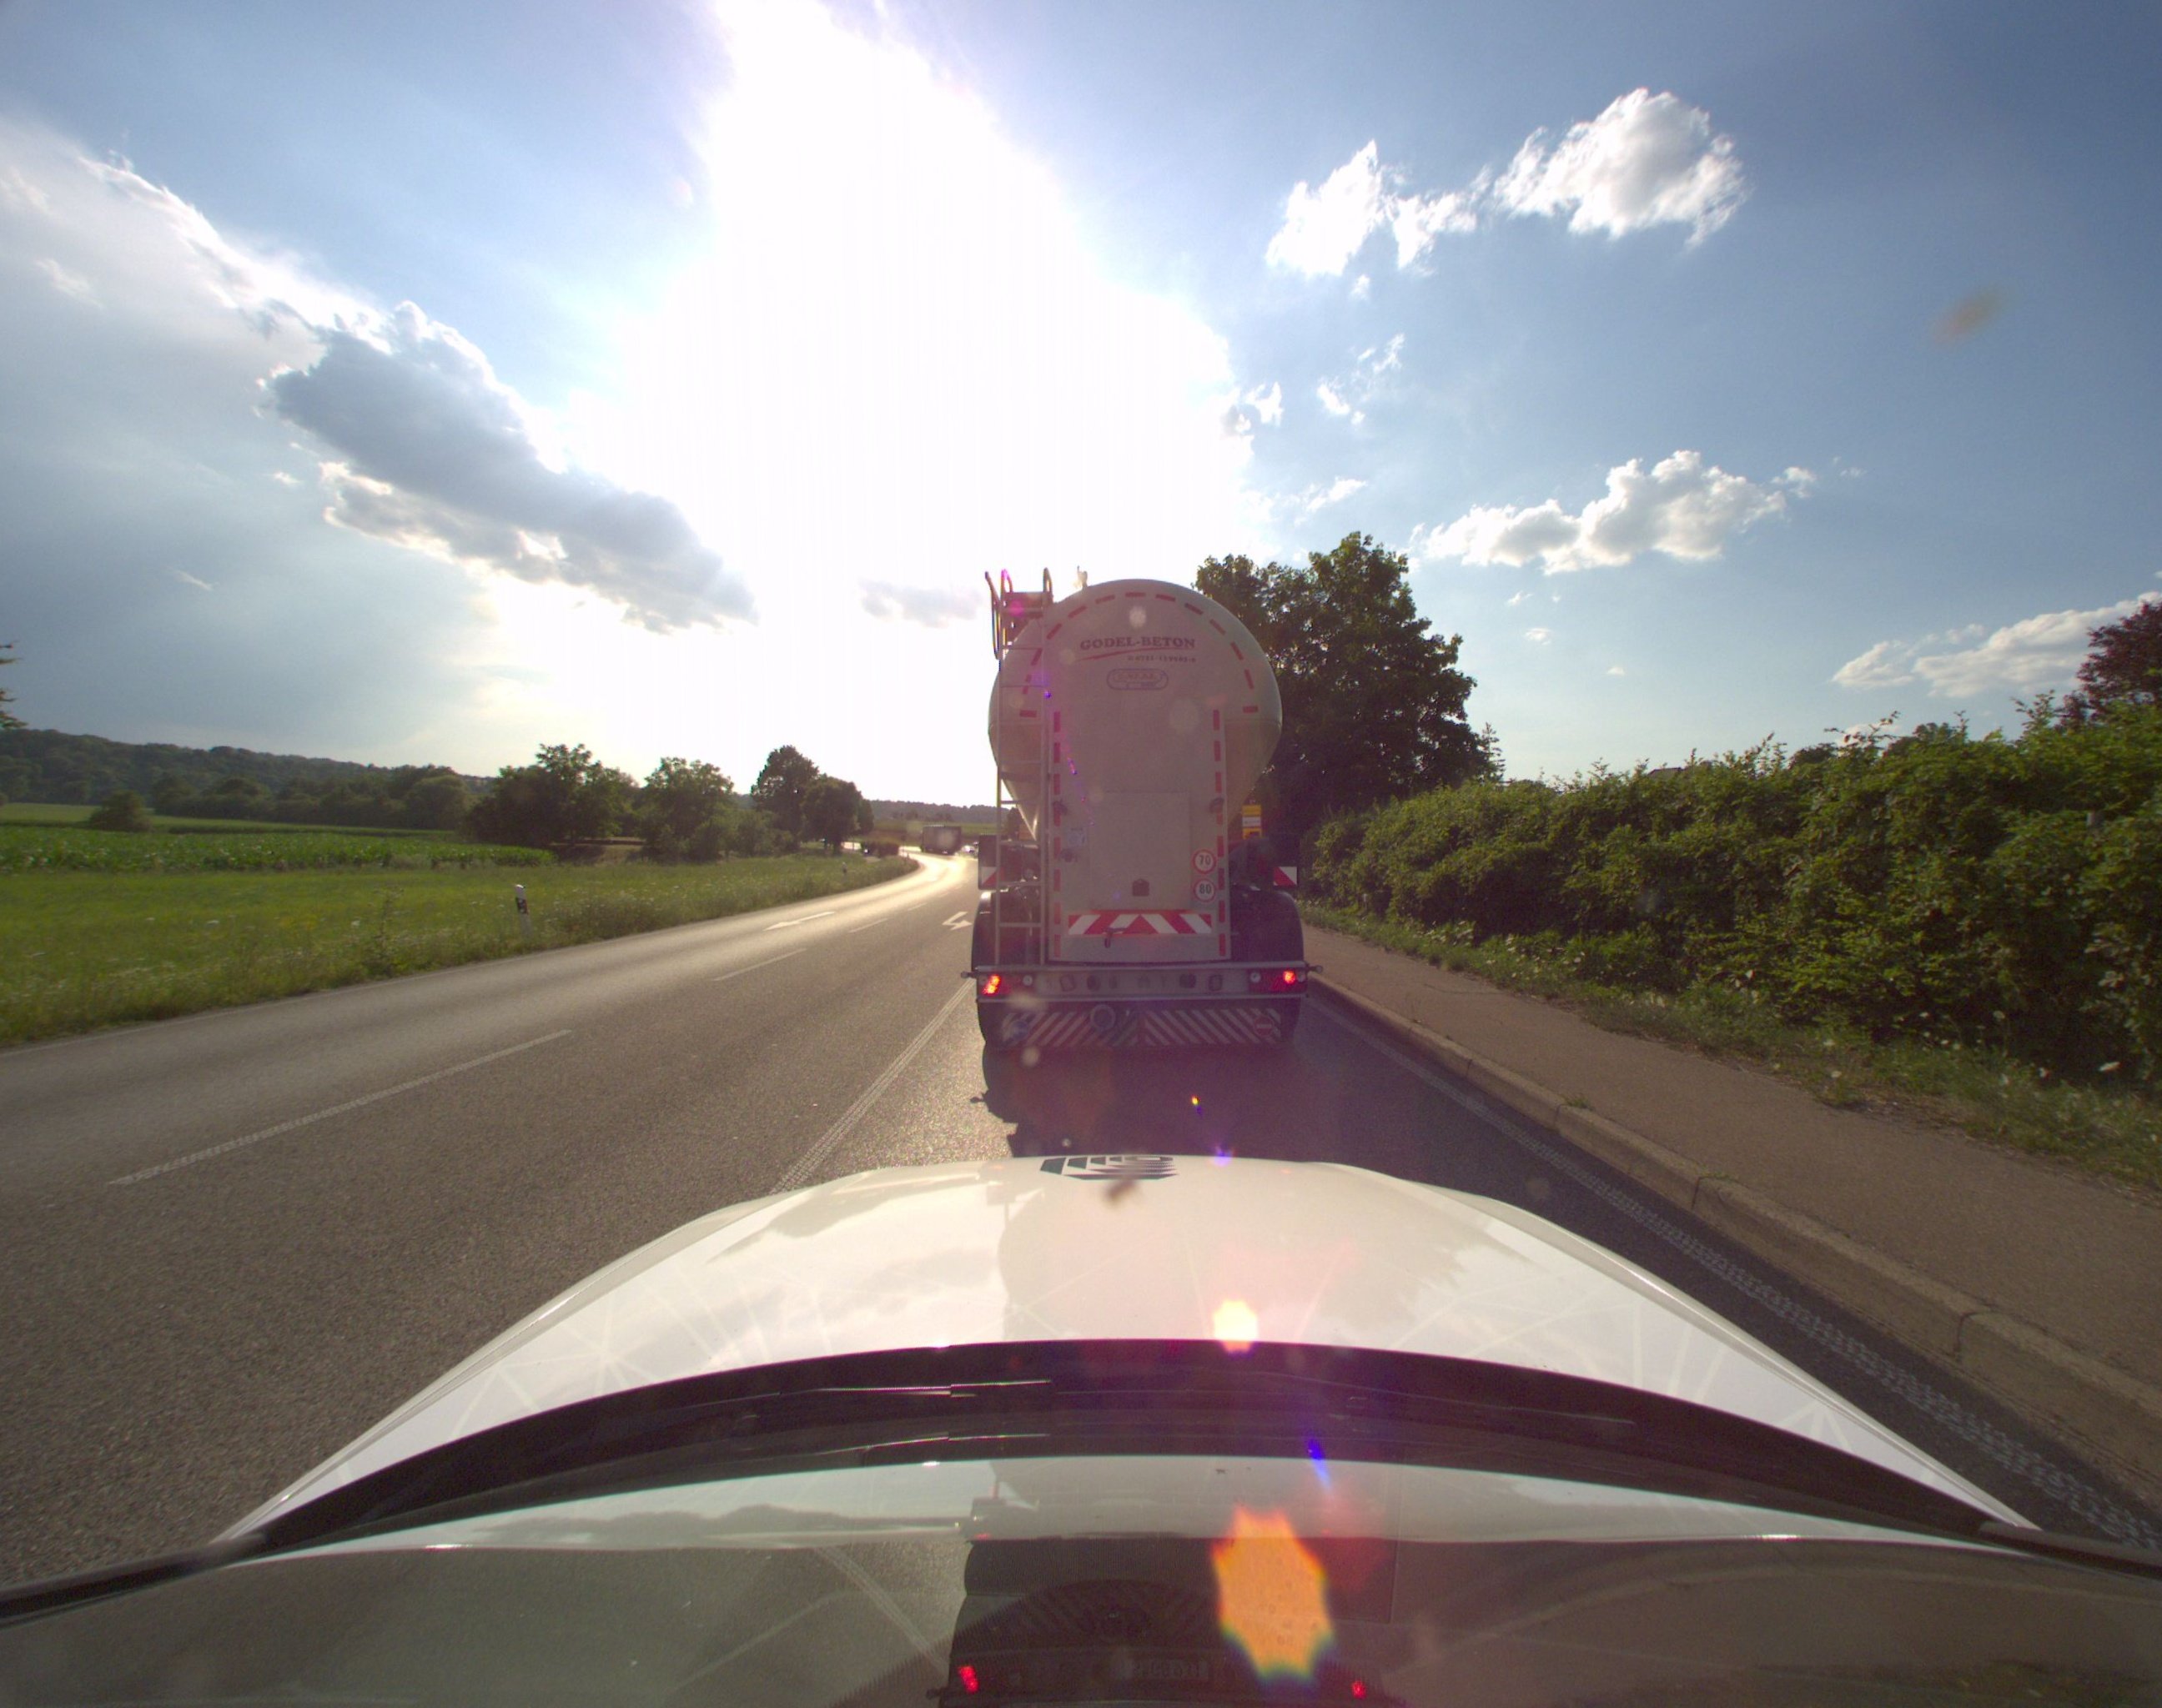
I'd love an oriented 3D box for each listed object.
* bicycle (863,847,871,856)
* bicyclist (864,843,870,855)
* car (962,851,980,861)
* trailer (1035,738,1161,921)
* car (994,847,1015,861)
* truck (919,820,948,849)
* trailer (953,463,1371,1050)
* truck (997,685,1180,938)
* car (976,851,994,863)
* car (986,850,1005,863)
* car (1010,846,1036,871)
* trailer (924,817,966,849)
[{"bbox_3d":[-25.601,-0.268,97.349,0.634,1.074,1.667,2,0,-6],"label":"bicycle"},{"bbox_3d":[-25.595,-0.573,97.386,0.634,1.419,0.689,2,0,-7],"label":"bicyclist"},{"bbox_3d":[-13.852,0.237,102.678,1.773,1.205,3.407,-4,1,-16],"label":"car"},{"bbox_3d":[0.659,-0.611,26.470,2.943,4.315,14.182,1,0,2],"label":"trailer"},{"bbox_3d":[-7.705,-0.030,81.881,1.583,1.341,3.407,1,0,-16],"label":"car"},{"bbox_3d":[-23.166,-3.056,127.840,3.388,4.350,5.665,1,0,-21],"label":"truck"},{"bbox_3d":[0.277,-0.680,10.618,2.904,4.006,9.916,0,0,-4],"label":"trailer"},{"bbox_3d":[0.001,-0.690,15.048,2.904,4.006,4.054,0,0,-4],"label":"truck"},{"bbox_3d":[-11.340,0.327,96.263,1.583,1.341,3.407,1,0,-16],"label":"car"},{"bbox_3d":[-9.258,0.279,88.074,1.583,1.341,3.407,1,0,-16],"label":"car"},{"bbox_3d":[-4.837,0.335,67.463,1.861,2.013,3.708,0,0,-9],"label":"car"},{"bbox_3d":[-20.240,-3.024,120.208,3.388,4.350,14.192,1,0,-21],"label":"trailer"}]
